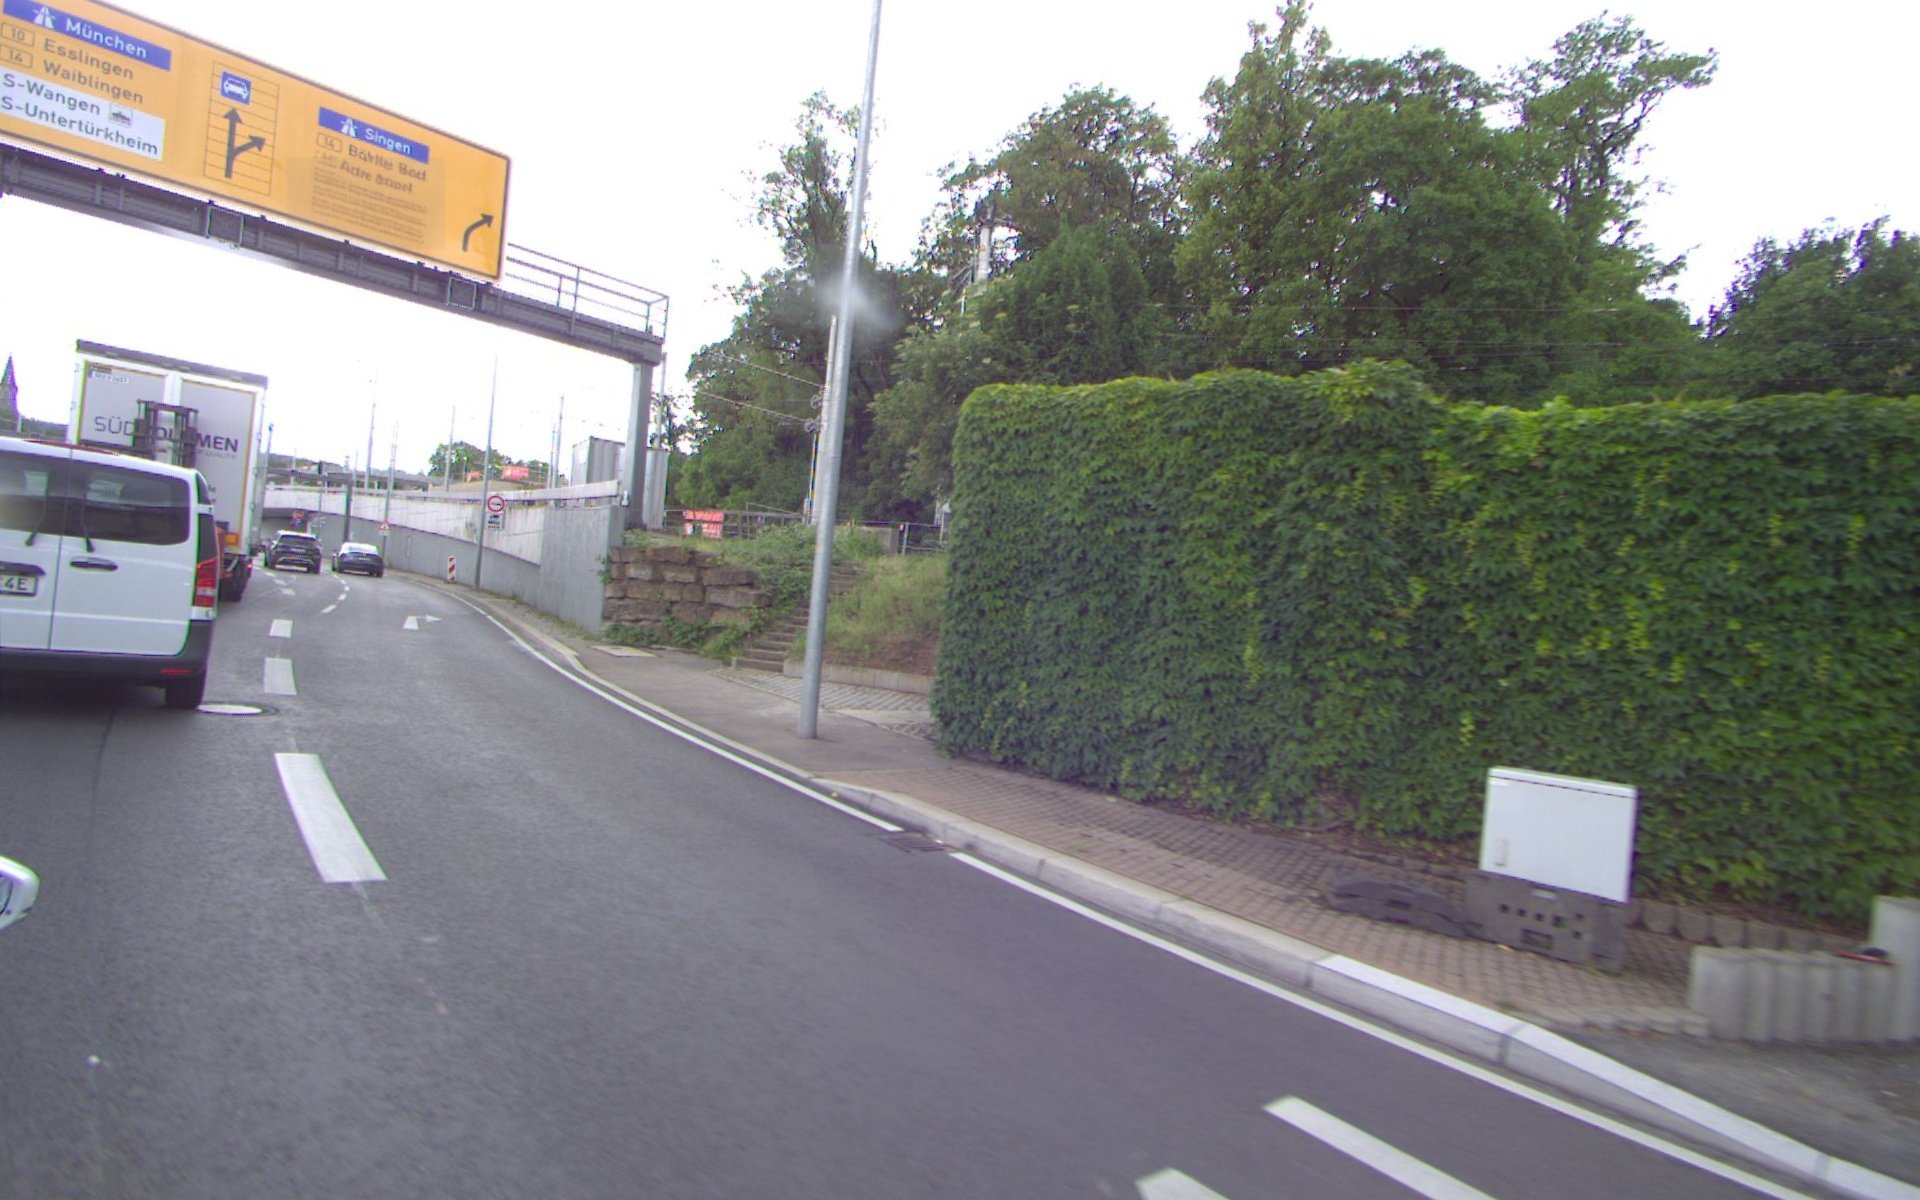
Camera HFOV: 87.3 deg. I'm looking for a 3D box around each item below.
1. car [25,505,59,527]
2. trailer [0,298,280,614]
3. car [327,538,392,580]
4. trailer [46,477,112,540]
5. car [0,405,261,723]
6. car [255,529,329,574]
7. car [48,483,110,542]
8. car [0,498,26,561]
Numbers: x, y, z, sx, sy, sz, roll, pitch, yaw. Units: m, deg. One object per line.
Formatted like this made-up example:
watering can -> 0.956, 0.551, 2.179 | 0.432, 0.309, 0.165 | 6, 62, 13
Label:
car -> -73.966, -6.750, 81.033 | 3.521, 1.506, 1.656 | 3, -2, 43
trailer -> -15.849, -2.327, 19.750 | 3.702, 4.191, 10.885 | 7, -1, -34
car -> -28.231, -1.934, 47.260 | 1.886, 1.645, 3.956 | 8, -2, -40
trailer -> -44.454, -4.561, 50.792 | 2.098, 2.667, 4.754 | 11, -4, -42
car -> -7.712, -0.365, 8.598 | 1.988, 2.013, 5.137 | 8, -2, -43
car -> -27.389, -1.976, 41.204 | 1.886, 1.537, 3.956 | 8, -3, -41
car -> -46.956, -4.601, 53.624 | 2.053, 2.656, 5.874 | 11, -4, -41
car -> -22.520, -1.700, 22.532 | 1.708, 1.414, 4.305 | 8, -2, -36
